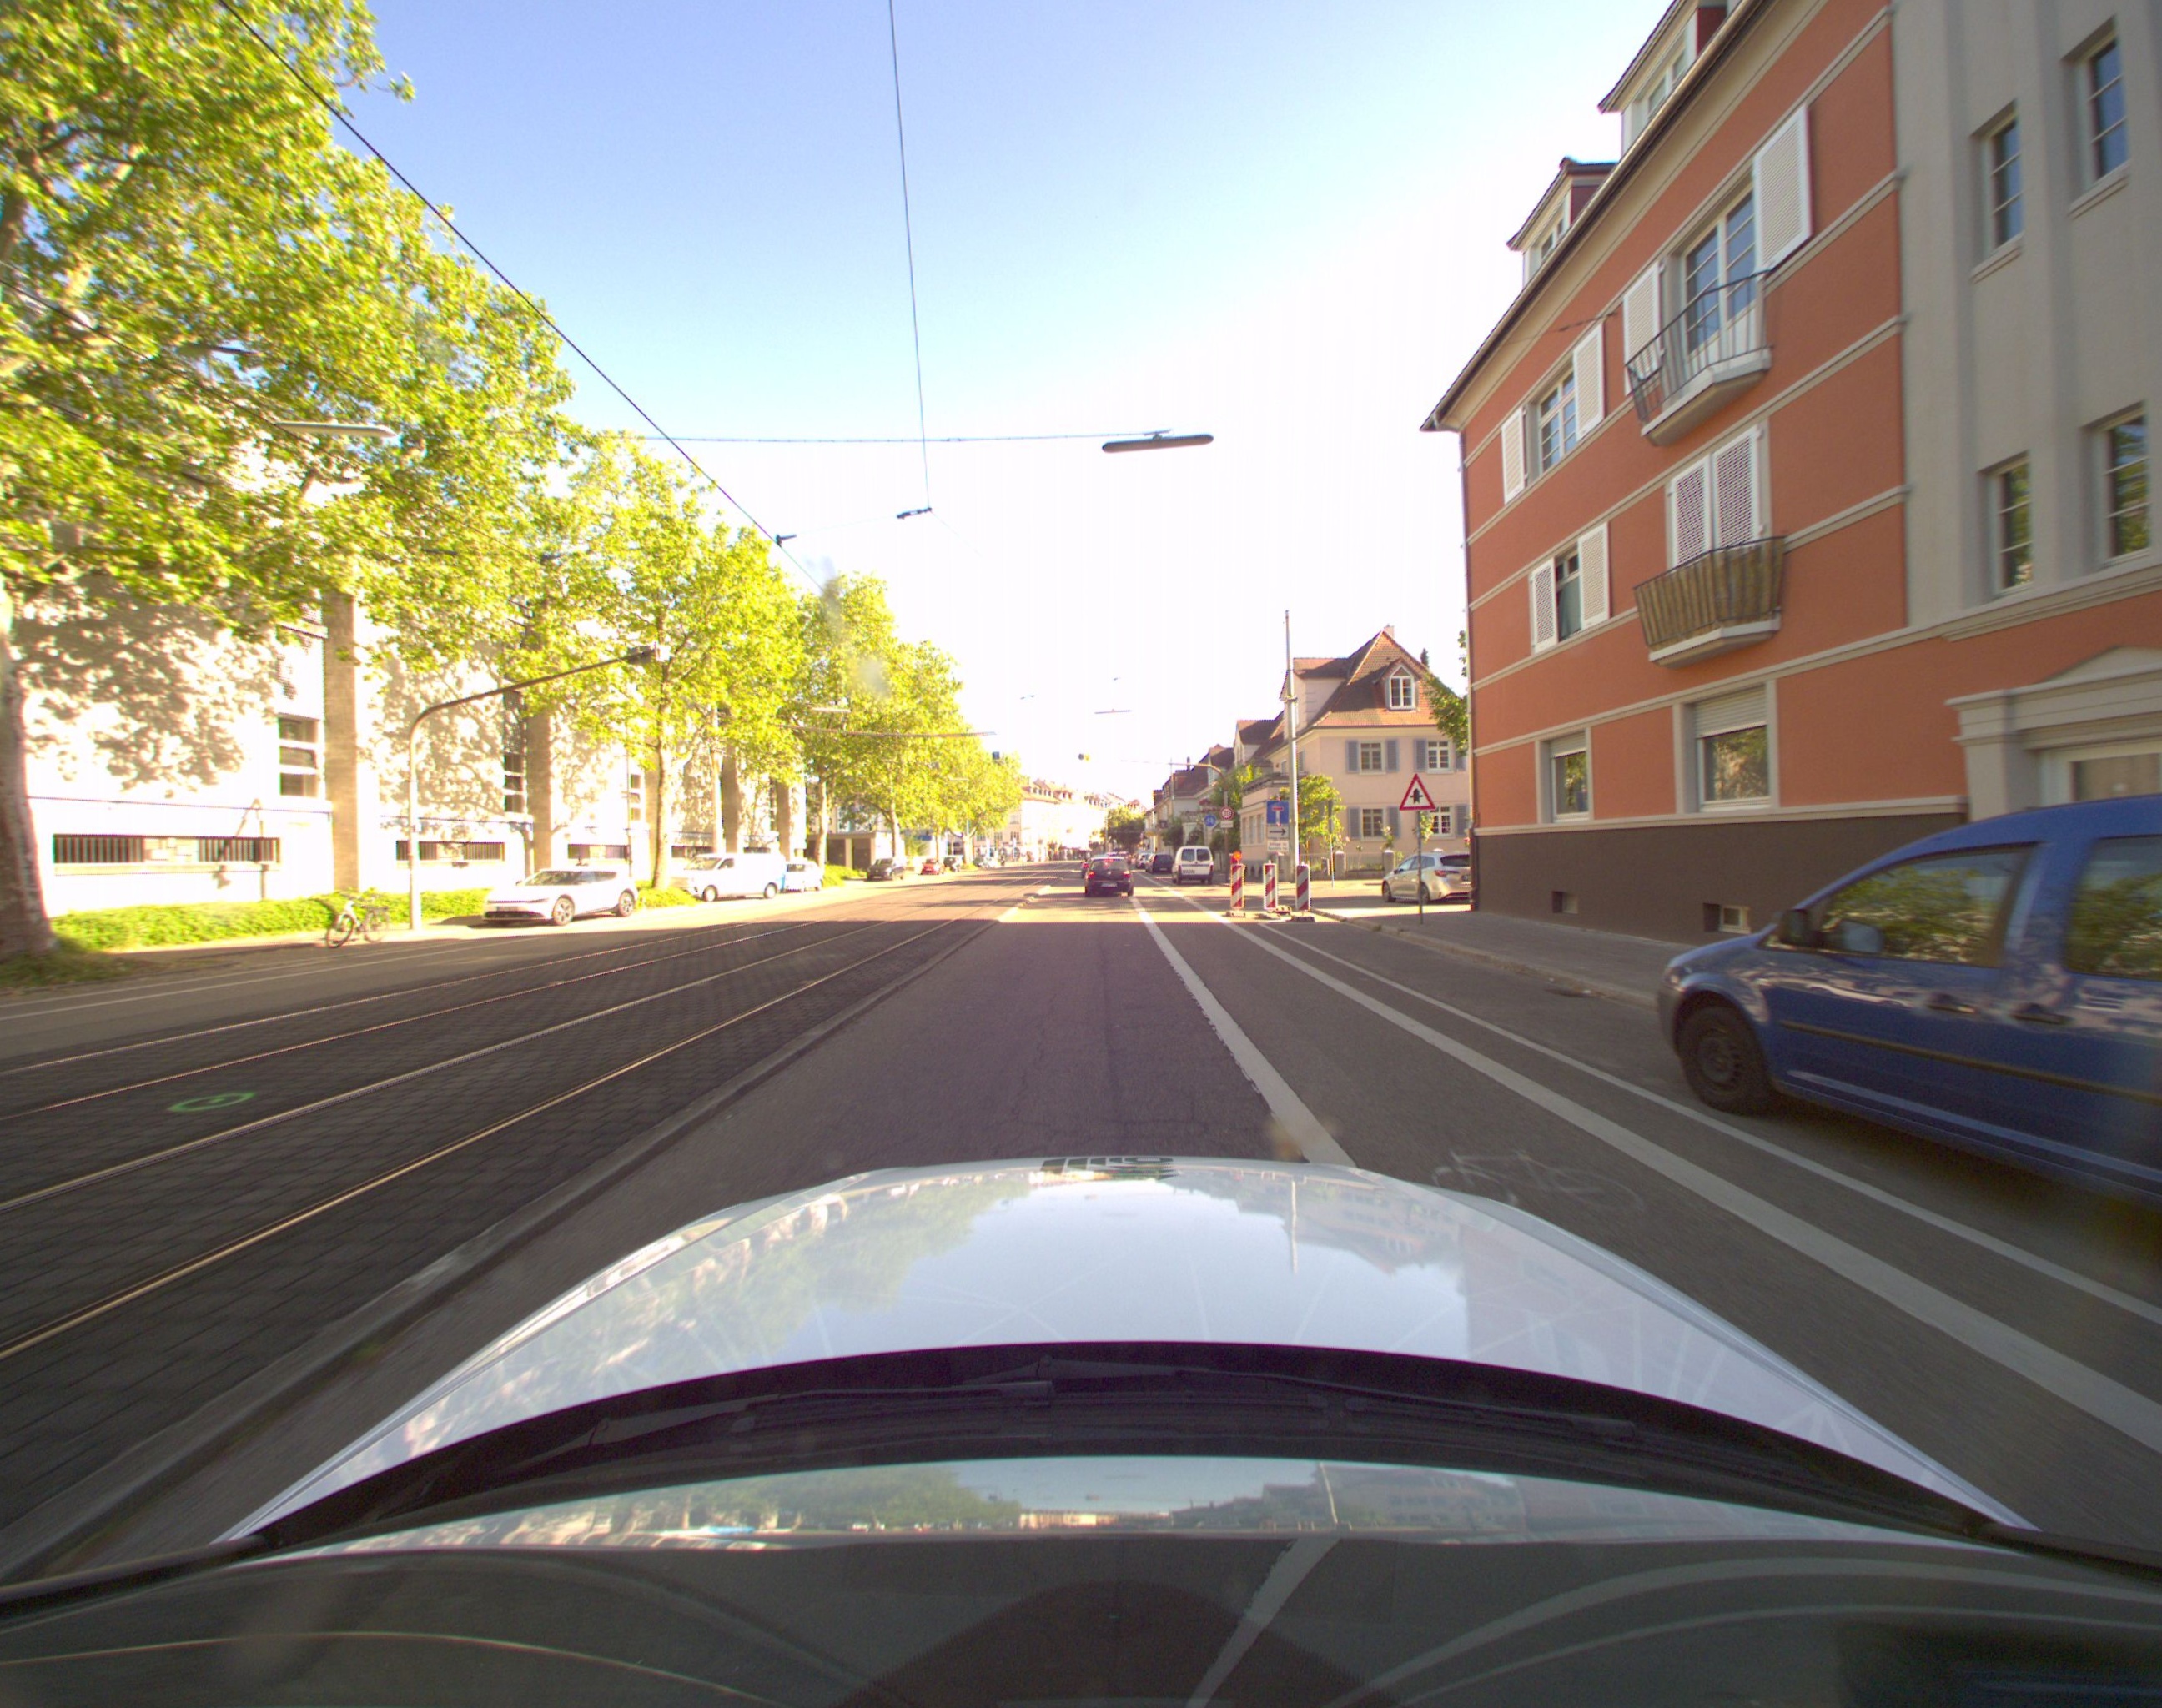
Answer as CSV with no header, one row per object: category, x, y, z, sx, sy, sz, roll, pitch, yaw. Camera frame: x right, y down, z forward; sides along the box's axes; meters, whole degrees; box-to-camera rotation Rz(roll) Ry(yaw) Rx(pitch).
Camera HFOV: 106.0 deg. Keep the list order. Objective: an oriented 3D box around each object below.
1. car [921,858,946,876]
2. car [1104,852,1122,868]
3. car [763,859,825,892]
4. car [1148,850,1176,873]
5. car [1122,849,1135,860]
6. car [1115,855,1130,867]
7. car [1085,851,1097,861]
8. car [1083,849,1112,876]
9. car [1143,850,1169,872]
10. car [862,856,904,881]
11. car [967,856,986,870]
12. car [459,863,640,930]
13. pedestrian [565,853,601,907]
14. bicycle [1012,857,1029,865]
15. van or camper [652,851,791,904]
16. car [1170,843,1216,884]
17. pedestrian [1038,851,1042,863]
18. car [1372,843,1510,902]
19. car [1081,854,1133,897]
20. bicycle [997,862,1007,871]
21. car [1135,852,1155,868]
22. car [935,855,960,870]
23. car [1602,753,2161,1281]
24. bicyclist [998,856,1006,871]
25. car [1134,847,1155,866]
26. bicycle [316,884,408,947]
car,-13.388,1.165,74.025,1.564,1.533,3.573,-1,-1,1
car,3.050,0.567,77.806,1.630,1.472,3.730,-1,0,1
car,-14.275,1.045,40.685,1.568,1.507,4.091,0,1,1
car,5.780,0.505,58.475,1.655,1.526,4.037,-1,0,1
car,6.569,0.105,112.731,1.630,1.472,3.730,-1,0,1
car,5.164,0.872,101.674,1.630,1.472,3.730,-1,0,1
car,1.526,0.276,121.156,1.630,1.472,3.730,-1,0,1
car,1.048,0.505,50.694,1.742,1.537,3.893,-1,0,2
car,5.795,0.507,62.959,1.742,1.537,3.957,-1,0,2
car,-13.918,1.013,57.571,1.881,1.666,4.001,-1,0,1
car,-13.148,1.158,102.742,1.877,1.669,3.804,0,0,0
car,-14.660,1.094,22.872,2.005,1.572,4.692,0,1,0
pedestrian,-17.149,0.897,28.049,0.794,1.820,0.670,0,0,1
bicycle,-10.012,1.101,135.109,2.733,1.262,0.706,0,0,0
van or camper,-14.492,0.869,33.224,2.043,1.949,5.216,1,1,21
car,5.276,0.430,38.715,1.753,1.837,3.548,0,0,1
pedestrian,-9.129,0.629,182.120,0.953,2.659,1.099,0,0,-1
car,9.643,0.549,22.256,1.697,1.389,4.514,-2,-2,0
car,0.885,0.720,29.651,1.743,1.375,3.999,-1,0,0
bicycle,-10.274,1.622,105.920,0.910,1.083,3.204,0,1,1
car,5.952,0.547,76.075,1.574,1.375,4.001,-1,0,1
car,-13.626,0.820,83.196,1.786,1.465,3.836,1,0,1
car,4.559,0.561,3.662,1.697,1.810,4.270,0,0,0
bicyclist,-10.280,1.250,105.904,0.911,1.833,0.960,0,0,1
car,6.275,0.274,81.092,1.811,1.799,4.001,-1,0,1
bicycle,-15.212,1.271,17.294,0.580,1.209,1.651,0,0,-5
